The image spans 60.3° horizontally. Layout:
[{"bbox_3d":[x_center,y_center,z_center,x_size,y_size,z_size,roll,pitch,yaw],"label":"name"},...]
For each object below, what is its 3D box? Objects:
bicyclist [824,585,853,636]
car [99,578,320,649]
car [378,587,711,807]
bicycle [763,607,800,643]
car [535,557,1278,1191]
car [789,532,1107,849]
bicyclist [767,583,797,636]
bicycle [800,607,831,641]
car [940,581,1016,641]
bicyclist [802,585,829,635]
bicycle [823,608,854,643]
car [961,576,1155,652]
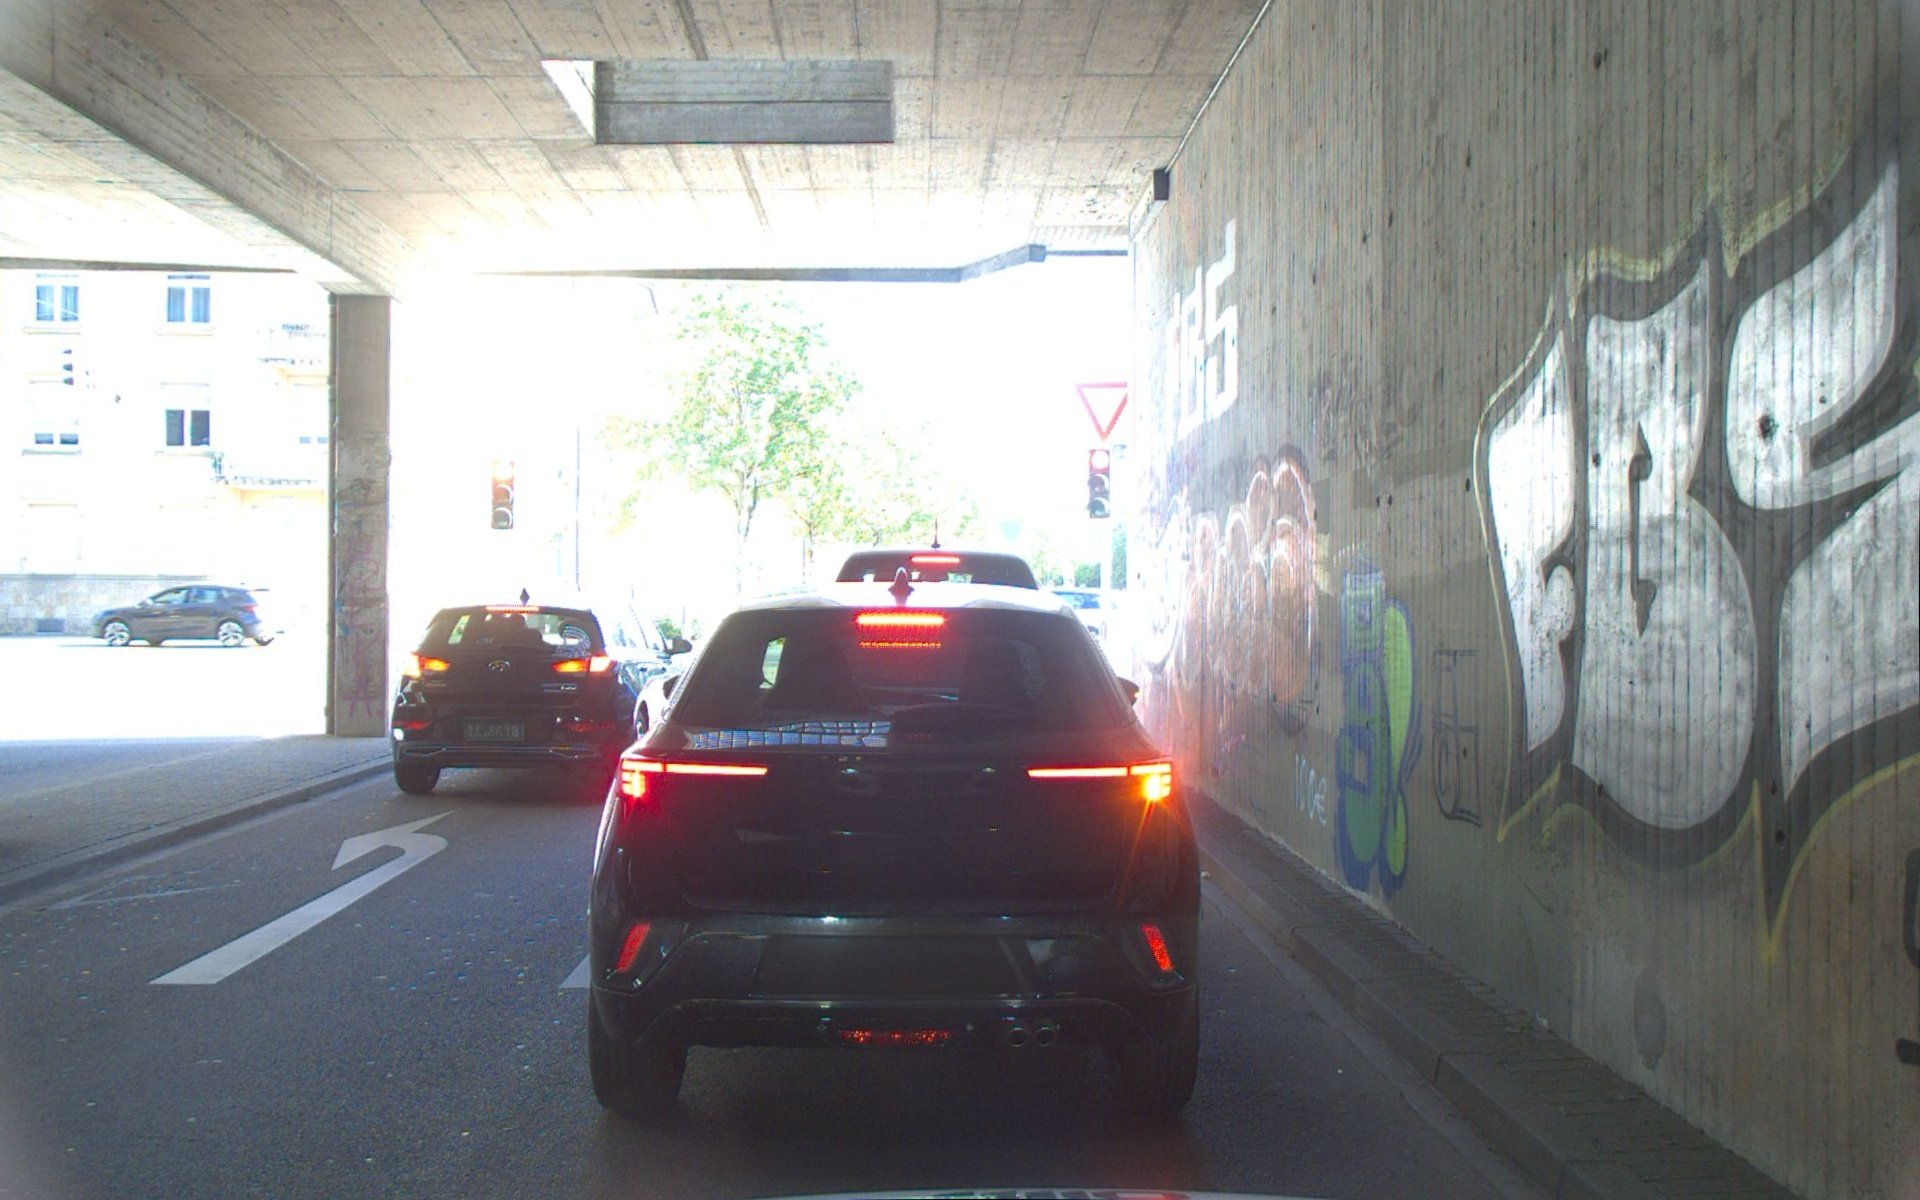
[{"bbox_3d":[-3.819,0.330,52.024,0.713,1.609,0.815,1,-1,9],"label":"bicyclist"},{"bbox_3d":[-17.334,0.300,38.316,4.293,1.579,1.884,0,0,4],"label":"car"},{"bbox_3d":[-3.142,0.653,13.363,1.744,1.472,4.177,1,0,-2],"label":"car"},{"bbox_3d":[-5.554,0.764,51.473,0.716,1.086,1.690,1,0,9],"label":"bicycle"},{"bbox_3d":[-0.157,0.669,6.110,1.844,1.565,3.963,0,0,-1],"label":"car"},{"bbox_3d":[-0.097,0.530,11.935,1.906,1.892,3.963,0,0,-1],"label":"car"},{"bbox_3d":[-5.535,0.299,51.506,0.713,1.609,0.815,1,-1,9],"label":"bicyclist"},{"bbox_3d":[-4.746,0.776,54.513,0.612,1.086,1.690,1,0,9],"label":"bicycle"},{"bbox_3d":[0.499,0.329,44.229,1.927,1.523,3.896,0,-1,1],"label":"car"},{"bbox_3d":[-4.751,0.325,54.397,0.713,1.609,0.815,1,-1,9],"label":"bicyclist"},{"bbox_3d":[-3.819,0.795,52.038,0.612,1.086,1.690,1,0,9],"label":"bicycle"},{"bbox_3d":[2.149,0.282,35.830,3.902,1.579,2.002,0,0,14],"label":"car"}]
